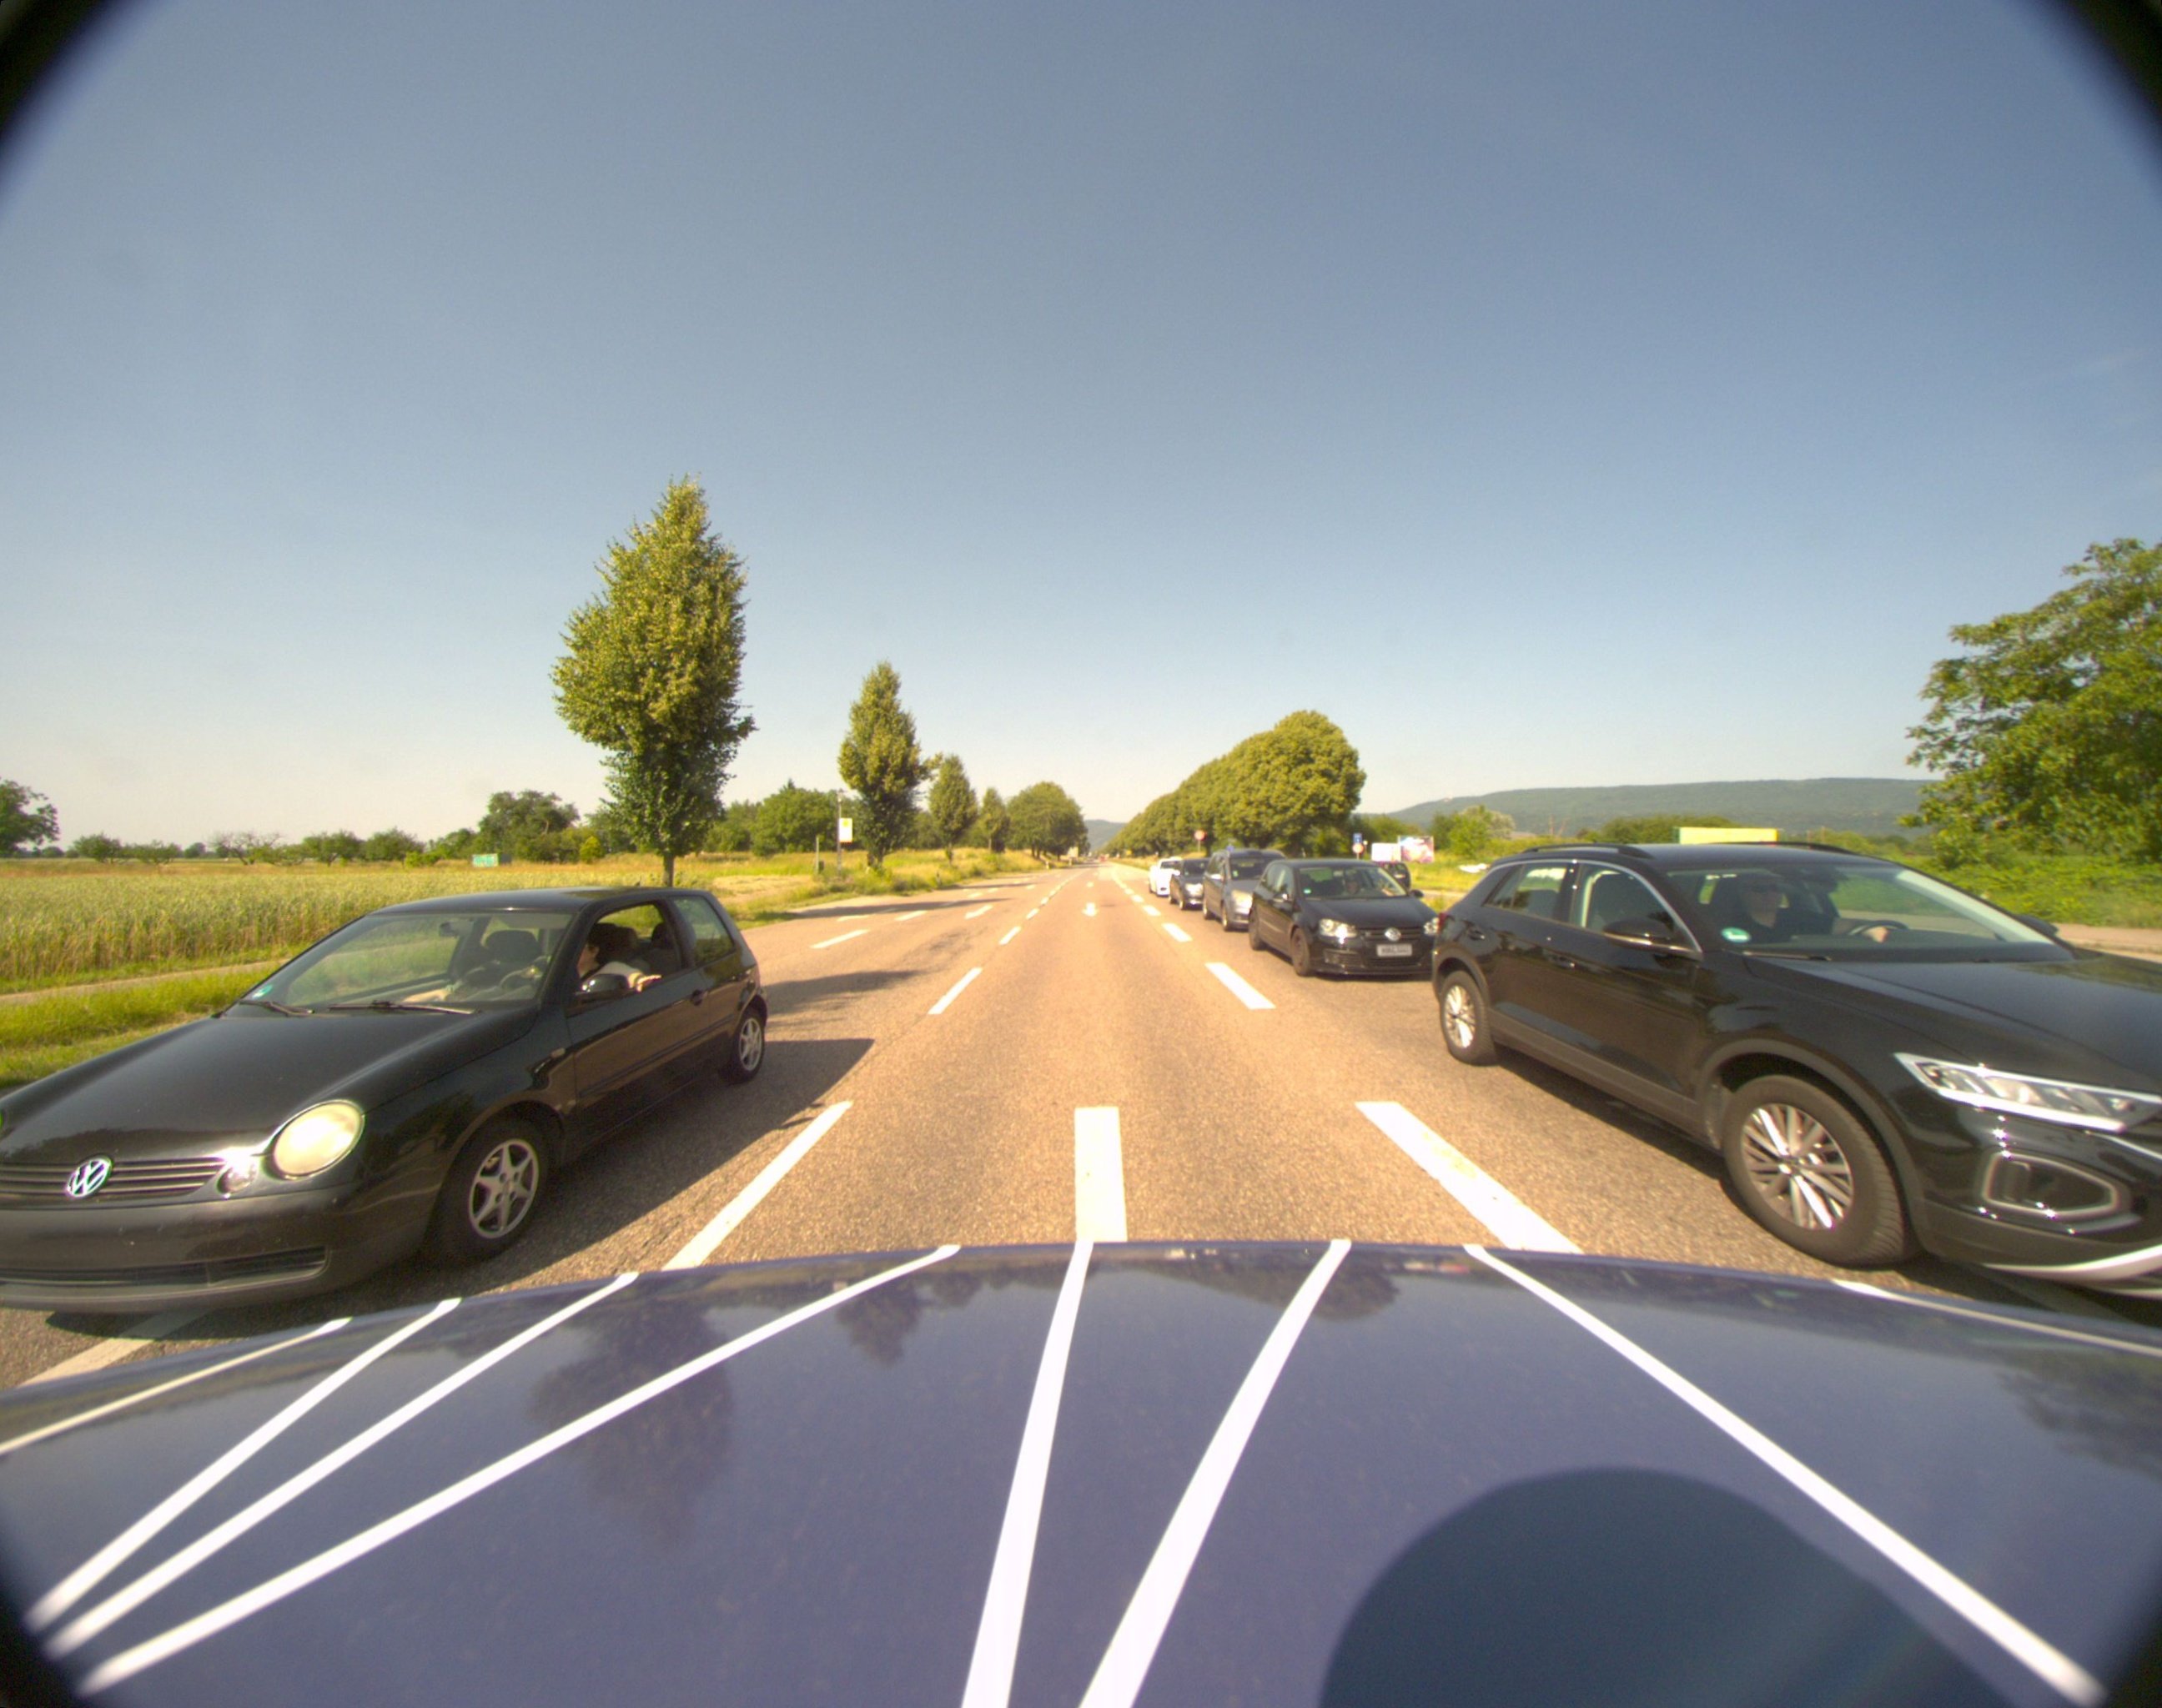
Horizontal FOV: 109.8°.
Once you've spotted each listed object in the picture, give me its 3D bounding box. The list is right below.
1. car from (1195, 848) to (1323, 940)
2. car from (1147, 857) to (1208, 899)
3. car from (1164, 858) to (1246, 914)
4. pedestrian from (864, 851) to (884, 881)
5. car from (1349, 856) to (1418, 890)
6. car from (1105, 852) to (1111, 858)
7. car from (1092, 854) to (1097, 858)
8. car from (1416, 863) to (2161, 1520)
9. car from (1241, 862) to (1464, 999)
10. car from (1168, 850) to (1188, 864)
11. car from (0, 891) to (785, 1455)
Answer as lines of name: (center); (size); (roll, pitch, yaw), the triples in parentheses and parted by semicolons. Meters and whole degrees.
car: (3.623, 0.746, 16.250); (1.745, 1.662, 4.357); (-1, 0, 1)
car: (3.612, 0.843, 29.173); (1.808, 1.417, 4.641); (-1, 0, 1)
car: (3.496, 0.865, 22.202); (1.719, 1.402, 4.355); (-2, 0, 1)
pedestrian: (-12.434, 0.713, 45.682); (0.904, 1.828, 1.194); (0, 0, -1)
car: (14.353, 0.858, 36.241); (1.619, 1.433, 3.775); (2, 0, -2)
car: (7.772, 0.322, 220.006); (1.680, 1.499, 3.725); (0, 0, 1)
car: (4.474, 0.662, 252.574); (1.680, 1.499, 3.725); (1, 0, 1)
car: (3.462, 0.850, 3.890); (1.733, 1.538, 4.098); (-1, 0, 1)
car: (3.440, 0.869, 10.488); (1.670, 1.466, 4.098); (-1, 0, 1)
car: (11.716, 0.347, 92.238); (1.887, 1.506, 4.147); (1, 0, 0)
car: (-3.102, 1.021, 4.000); (1.629, 1.425, 3.622); (-2, 0, 0)
